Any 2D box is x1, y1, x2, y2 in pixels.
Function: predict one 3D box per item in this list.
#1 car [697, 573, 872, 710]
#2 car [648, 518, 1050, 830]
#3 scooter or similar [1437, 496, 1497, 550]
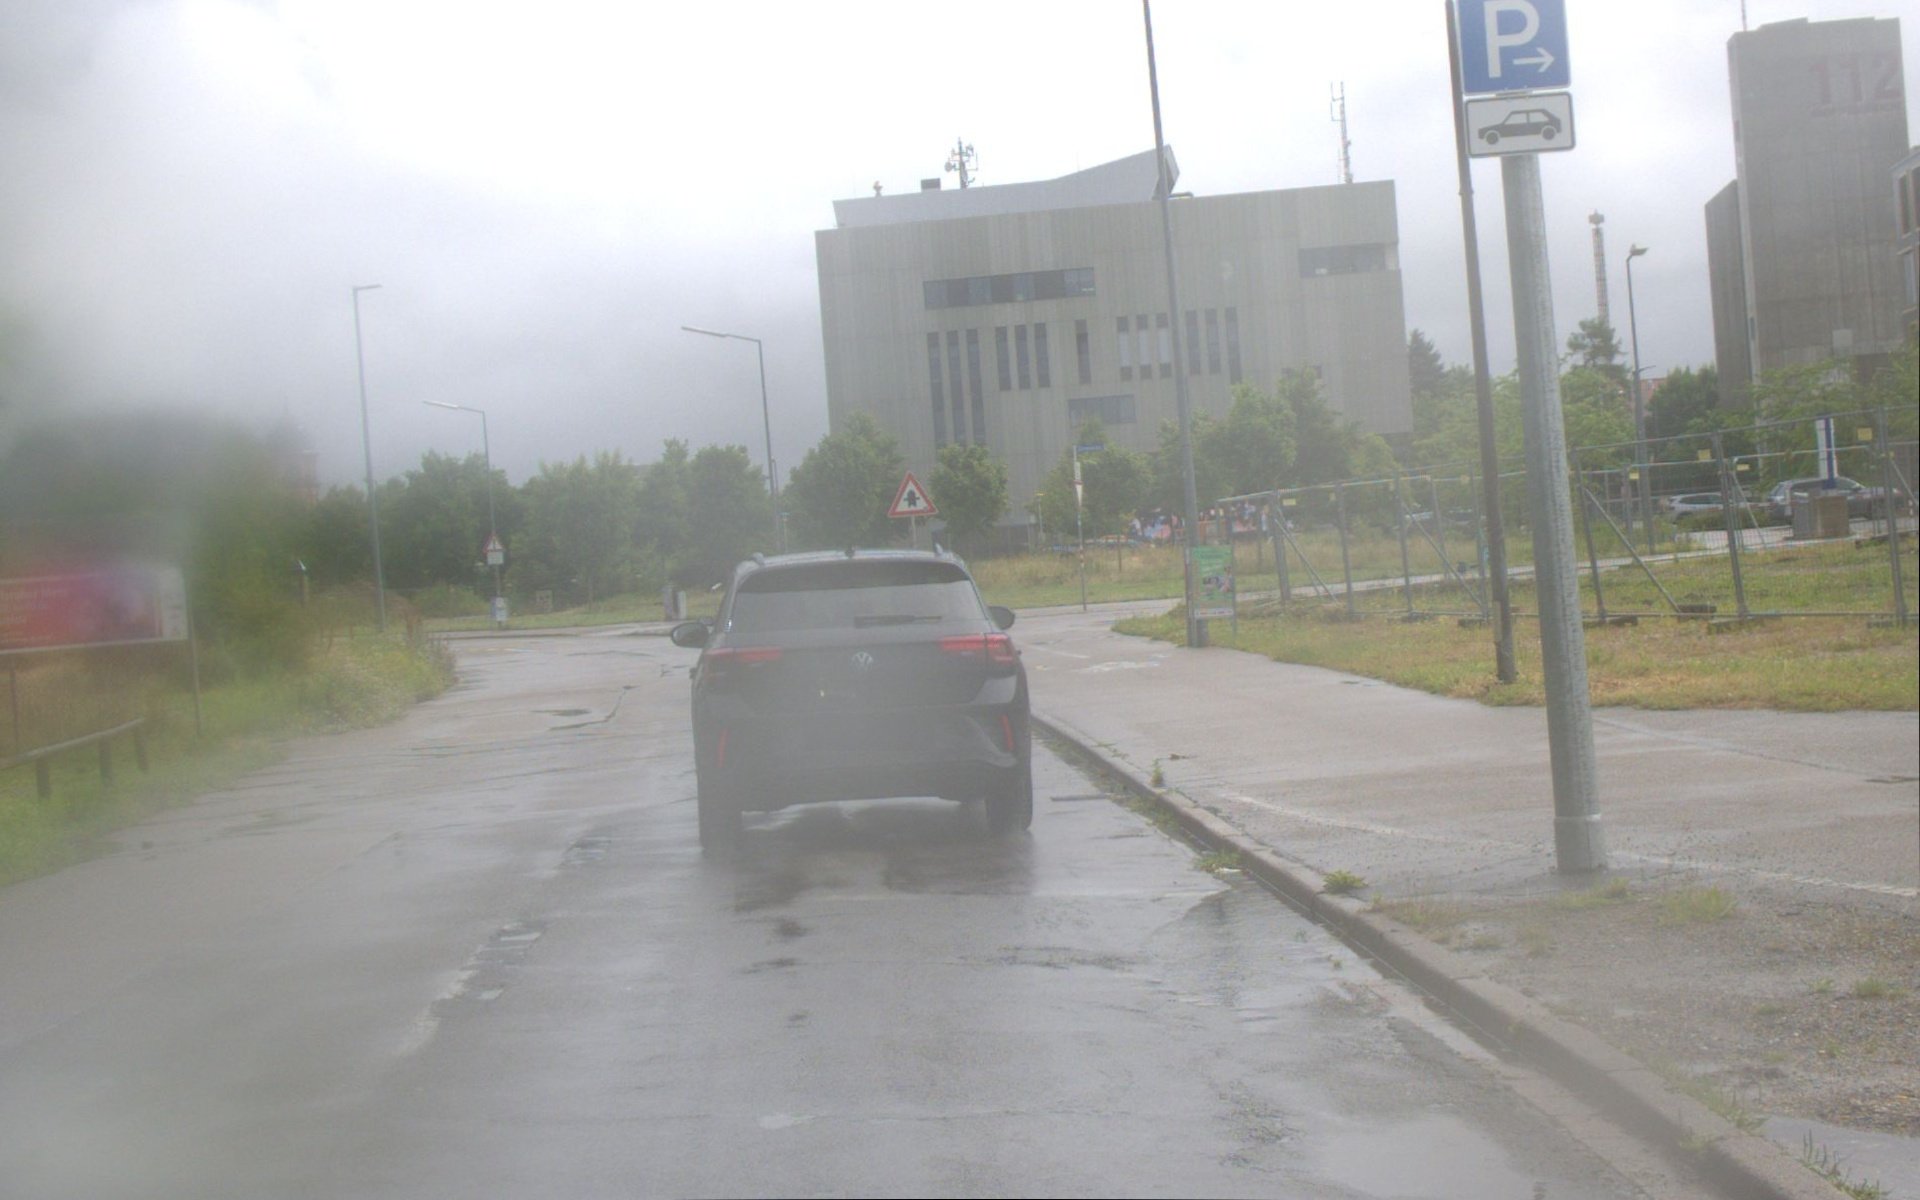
[{"bbox_3d":[-2.284,0.487,43.768,1.841,1.437,4.001,-7,1,-6],"label":"car"},{"bbox_3d":[-0.661,0.324,19.260,1.986,1.515,4.001,-1,1,-3],"label":"car"},{"bbox_3d":[12.151,-1.850,82.383,1.280,1.183,0.503,-6,3,-24],"label":"scooter or similar"}]
